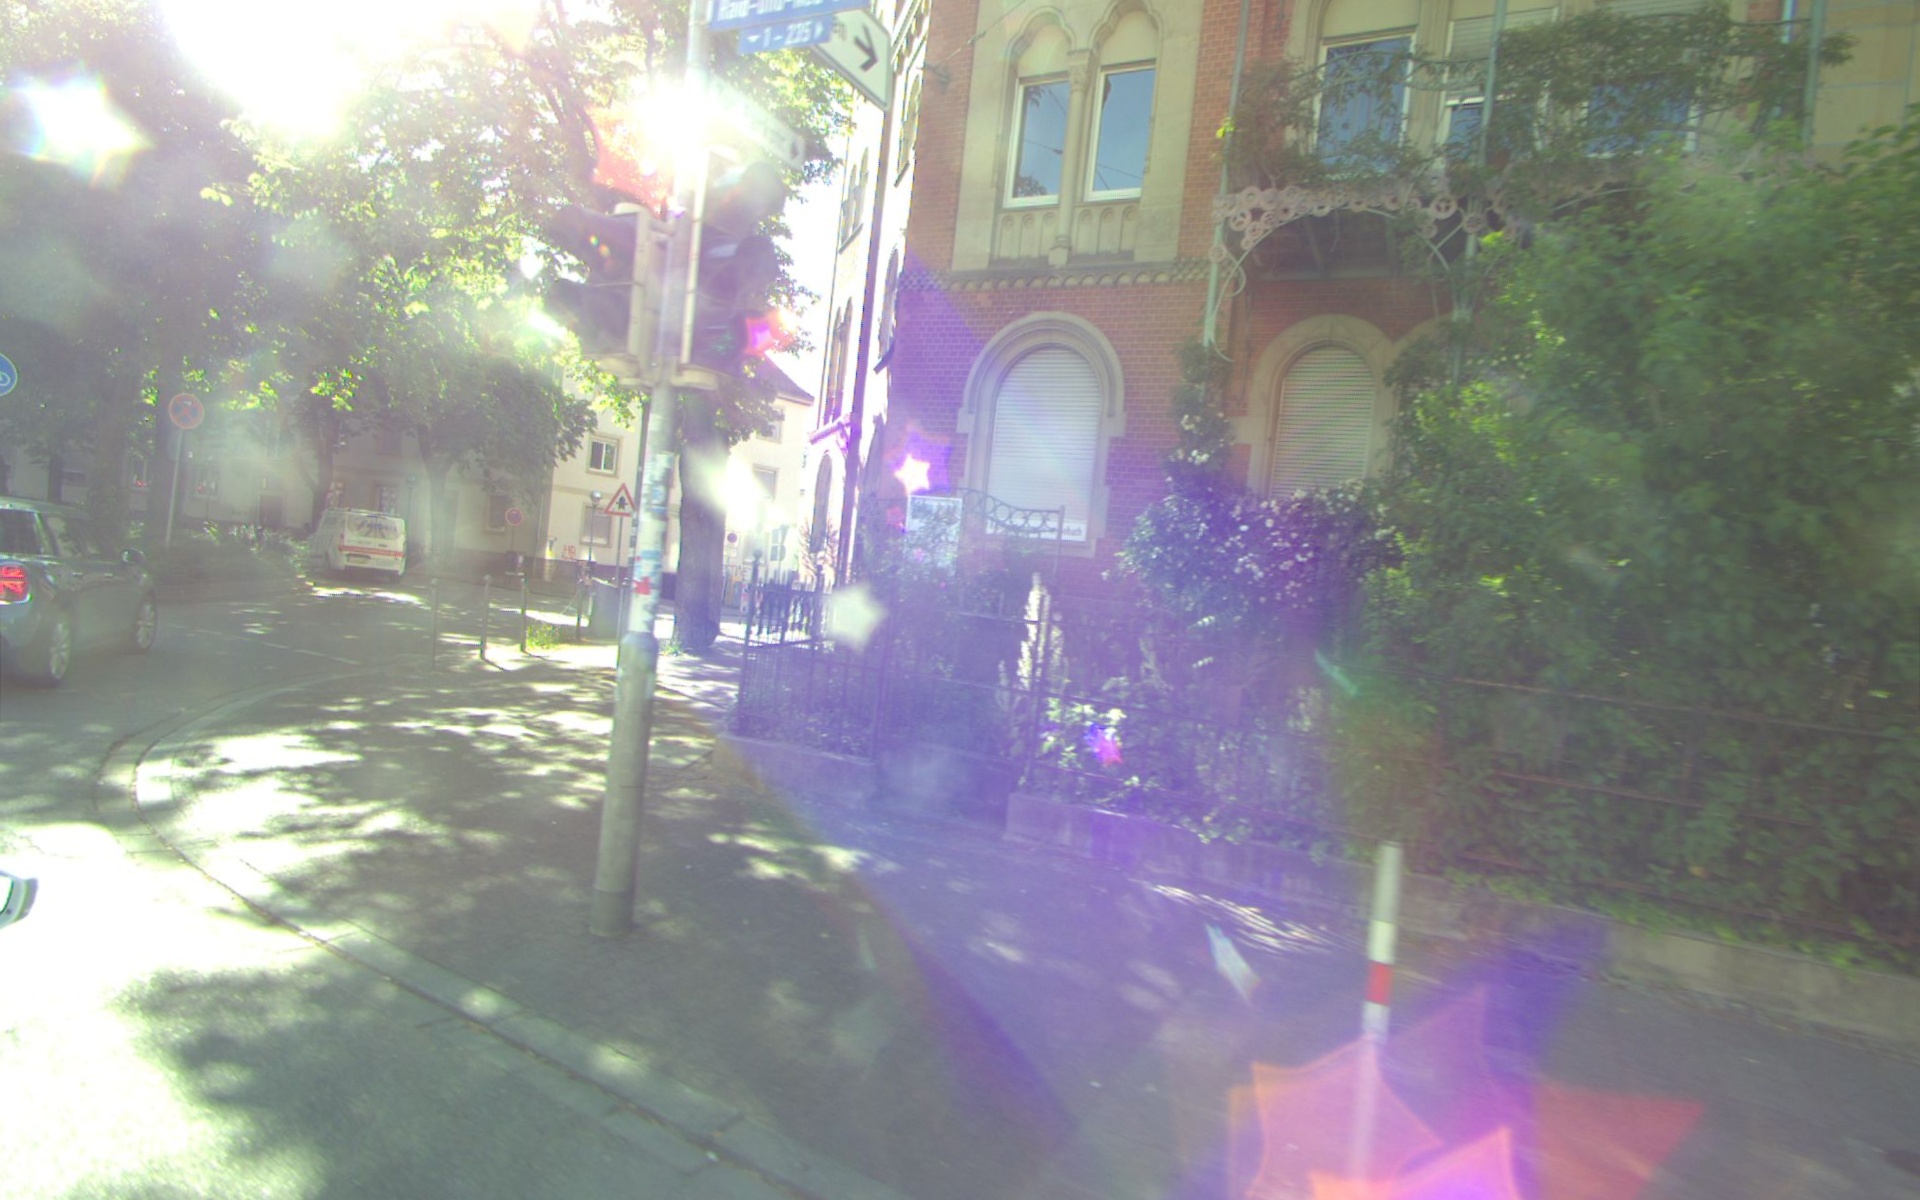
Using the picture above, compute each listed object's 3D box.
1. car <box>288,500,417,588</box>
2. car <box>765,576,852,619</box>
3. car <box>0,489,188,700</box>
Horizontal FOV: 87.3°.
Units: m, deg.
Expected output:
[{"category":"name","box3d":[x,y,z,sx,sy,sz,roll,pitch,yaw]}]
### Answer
[{"category":"car","box3d":[-18.496,-1.718,30.511,2.113,2.235,4.882,7,-1,-45]},{"category":"car","box3d":[-6.730,-0.127,44.448,3.747,1.495,1.596,5,-1,39]},{"category":"car","box3d":[-8.382,-0.169,8.786,1.800,1.506,3.973,7,-1,-28]}]
